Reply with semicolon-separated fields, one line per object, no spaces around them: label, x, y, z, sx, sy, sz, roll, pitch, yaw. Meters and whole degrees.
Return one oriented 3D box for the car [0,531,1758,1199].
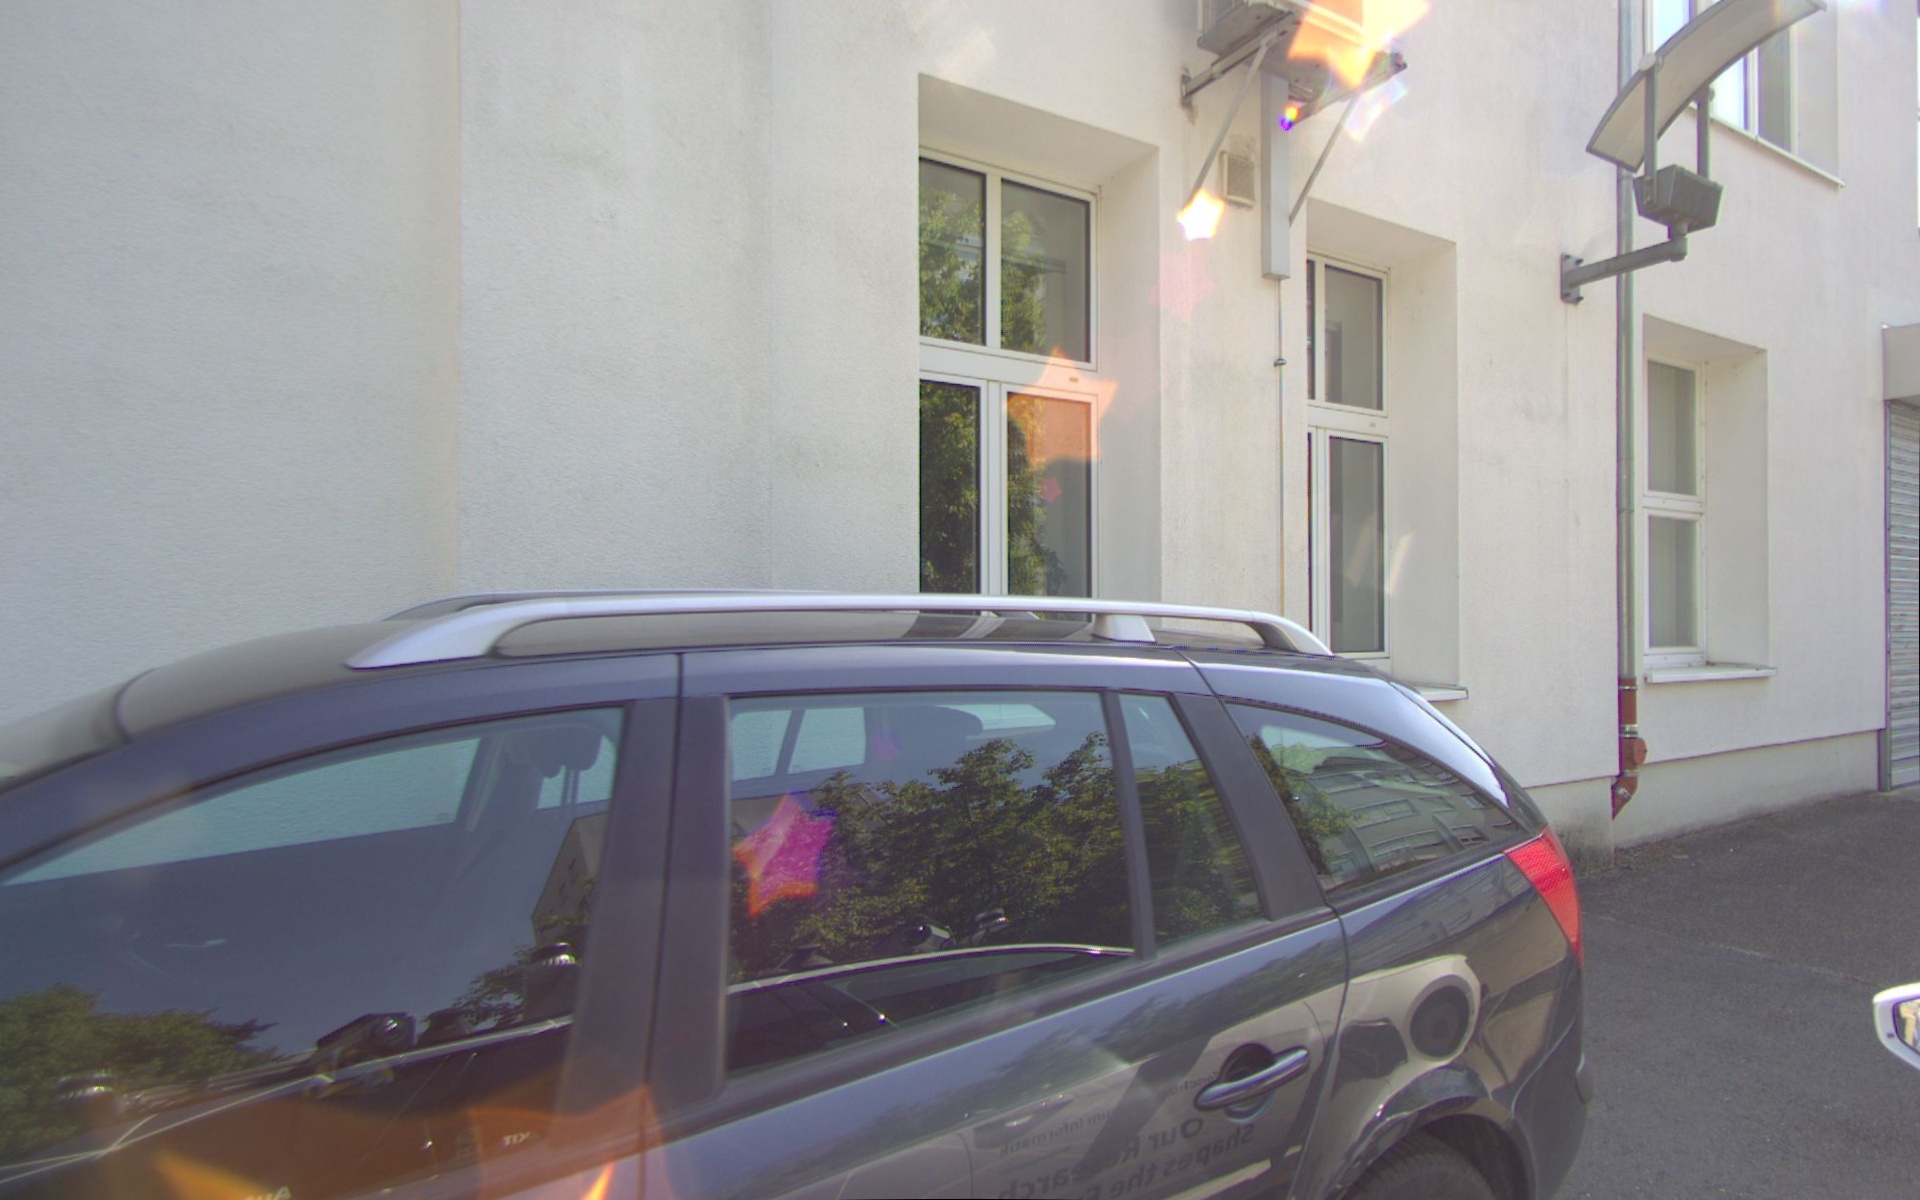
car;-0.767;0.676;1.654;4.380;1.461;1.827;2;0;-31
